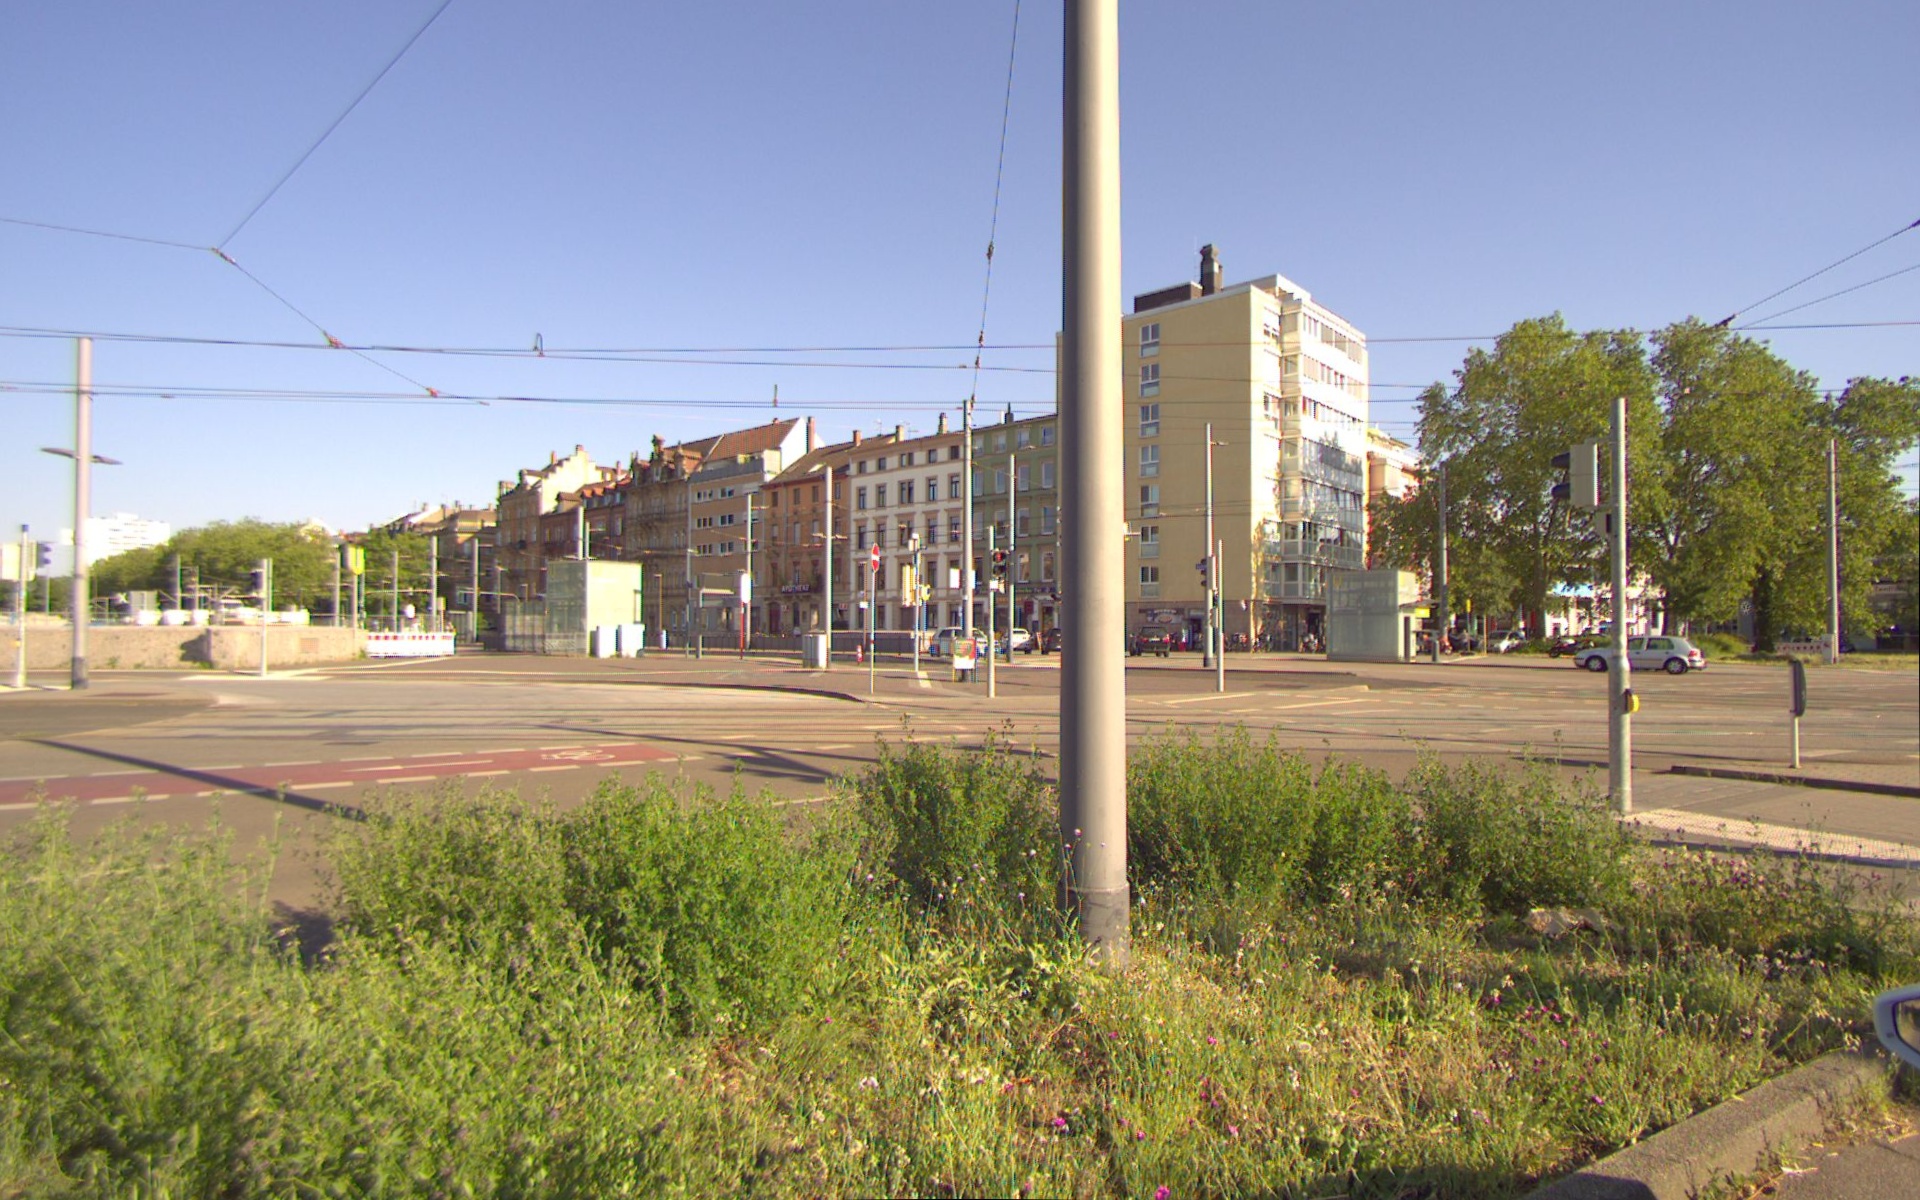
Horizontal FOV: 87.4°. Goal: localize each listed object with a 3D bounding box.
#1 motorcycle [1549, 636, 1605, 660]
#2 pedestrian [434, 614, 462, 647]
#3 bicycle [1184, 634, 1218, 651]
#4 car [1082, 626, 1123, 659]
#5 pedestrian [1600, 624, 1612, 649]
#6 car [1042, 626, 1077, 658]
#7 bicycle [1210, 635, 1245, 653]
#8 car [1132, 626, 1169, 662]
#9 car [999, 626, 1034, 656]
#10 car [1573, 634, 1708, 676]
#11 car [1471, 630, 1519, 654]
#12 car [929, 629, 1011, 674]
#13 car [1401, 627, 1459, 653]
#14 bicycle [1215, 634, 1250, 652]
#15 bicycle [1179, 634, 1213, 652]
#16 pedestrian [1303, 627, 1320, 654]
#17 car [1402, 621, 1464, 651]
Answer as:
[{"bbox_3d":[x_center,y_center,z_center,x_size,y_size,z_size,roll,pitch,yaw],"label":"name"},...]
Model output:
[{"bbox_3d":[30.816,2.392,50.201,0.682,1.068,2.263,-1,0,-42],"label":"motorcycle"},{"bbox_3d":[-32.327,1.922,63.418,1.361,2.040,1.503,-1,0,-34],"label":"pedestrian"},{"bbox_3d":[15.694,2.757,65.370,2.019,1.104,0.773,-1,-2,42],"label":"bicycle"},{"bbox_3d":[8.455,2.517,59.699,1.803,1.771,3.999,-1,0,-1],"label":"car"},{"bbox_3d":[52.237,2.943,81.215,0.702,2.040,0.586,1,-1,-30],"label":"pedestrian"},{"bbox_3d":[6.080,2.557,61.890,1.803,1.742,4.000,-1,0,1],"label":"car"},{"bbox_3d":[16.810,2.747,63.224,2.019,1.104,0.773,-1,-2,42],"label":"bicycle"},{"bbox_3d":[10.938,2.482,57.887,1.815,1.882,4.002,-1,0,6],"label":"car"},{"bbox_3d":[3.603,2.582,64.403,2.045,1.742,4.010,-1,0,1],"label":"car"},{"bbox_3d":[25.801,2.031,38.135,4.049,1.471,1.943,-1,-2,42],"label":"car"},{"bbox_3d":[35.540,2.765,66.645,1.827,1.471,3.976,0,-2,44],"label":"car"},{"bbox_3d":[0.473,2.489,49.615,3.691,2.040,1.990,-1,0,41],"label":"car"},{"bbox_3d":[35.661,3.002,76.217,3.925,1.882,1.851,-1,0,26],"label":"car"},{"bbox_3d":[17.322,2.740,63.898,2.019,1.104,0.773,-1,-2,42],"label":"bicycle"},{"bbox_3d":[15.193,2.764,64.654,2.019,1.104,0.773,-1,-2,42],"label":"bicycle"},{"bbox_3d":[22.014,2.538,62.838,0.767,1.698,0.778,-1,-2,43],"label":"pedestrian"},{"bbox_3d":[33.712,2.553,71.608,3.925,2.040,1.998,0,-2,26],"label":"car"}]
